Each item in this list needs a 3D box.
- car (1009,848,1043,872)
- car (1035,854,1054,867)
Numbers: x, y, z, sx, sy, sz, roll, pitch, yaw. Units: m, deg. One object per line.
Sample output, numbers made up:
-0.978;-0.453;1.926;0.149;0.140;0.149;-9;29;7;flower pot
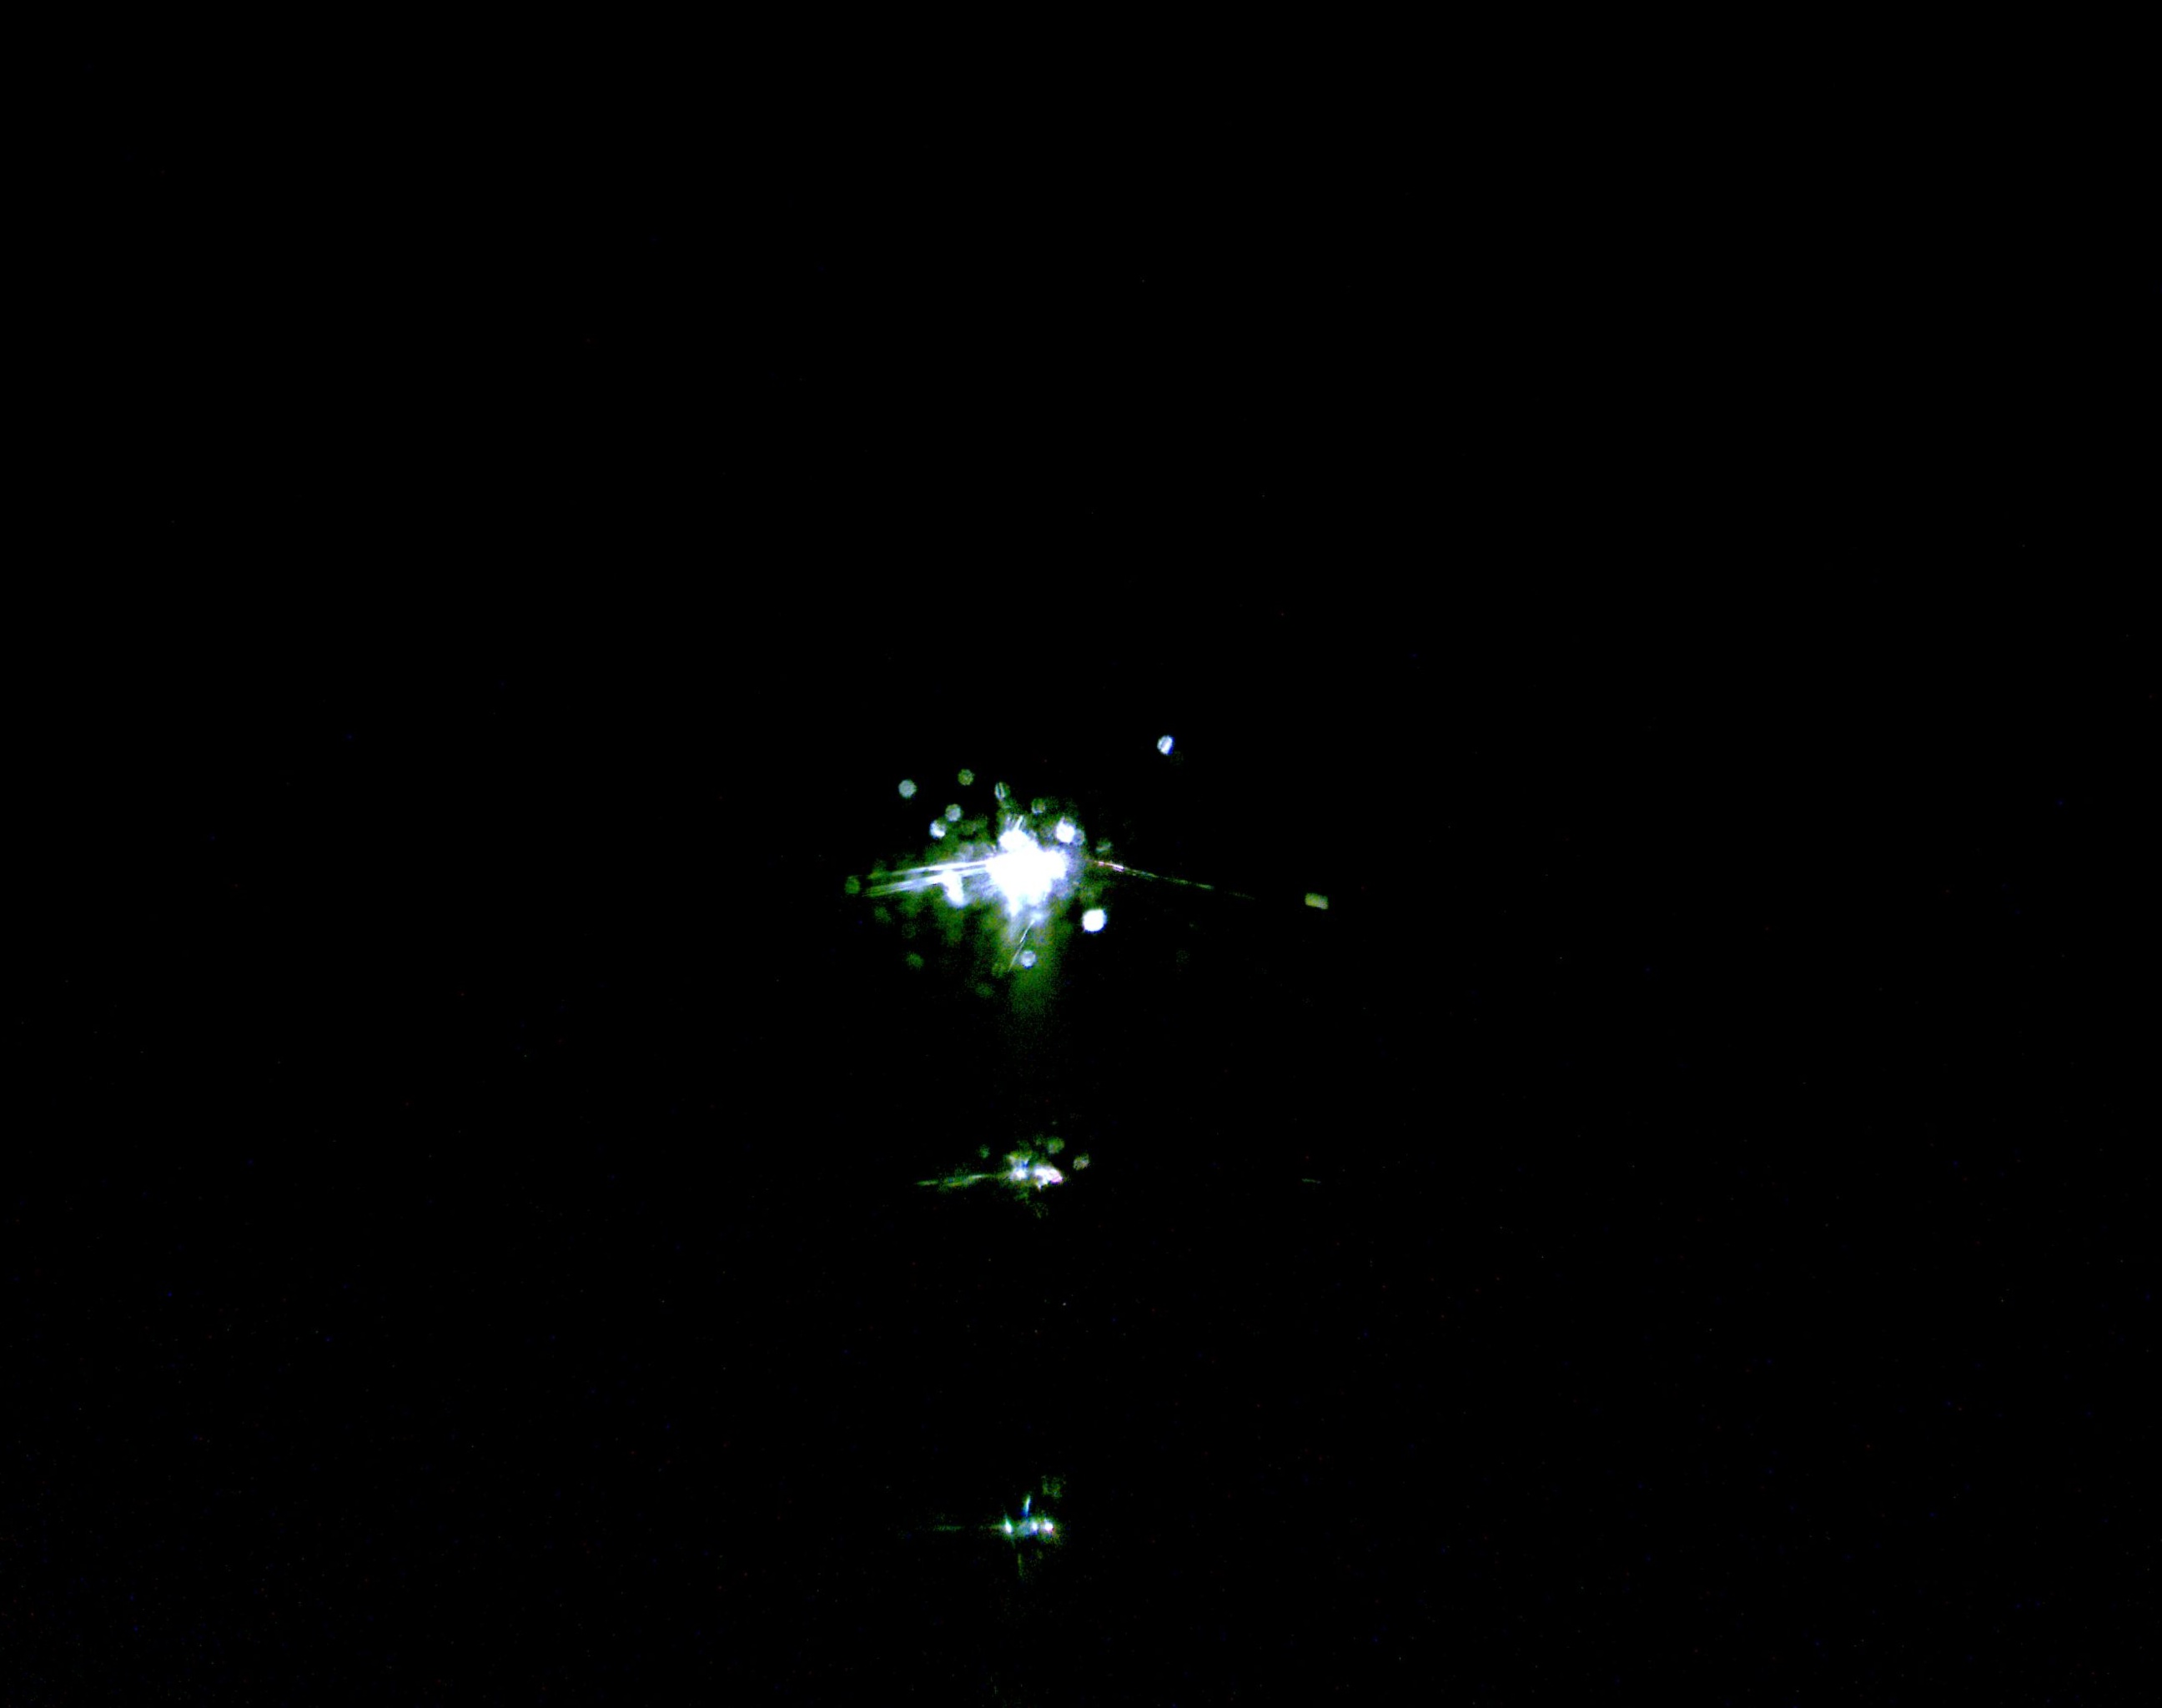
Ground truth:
-3.484;0.376;52.187;1.988;1.472;3.835;0;0;-1;car
-3.721;0.679;83.996;1.800;1.338;4.186;0;-1;-1;car
